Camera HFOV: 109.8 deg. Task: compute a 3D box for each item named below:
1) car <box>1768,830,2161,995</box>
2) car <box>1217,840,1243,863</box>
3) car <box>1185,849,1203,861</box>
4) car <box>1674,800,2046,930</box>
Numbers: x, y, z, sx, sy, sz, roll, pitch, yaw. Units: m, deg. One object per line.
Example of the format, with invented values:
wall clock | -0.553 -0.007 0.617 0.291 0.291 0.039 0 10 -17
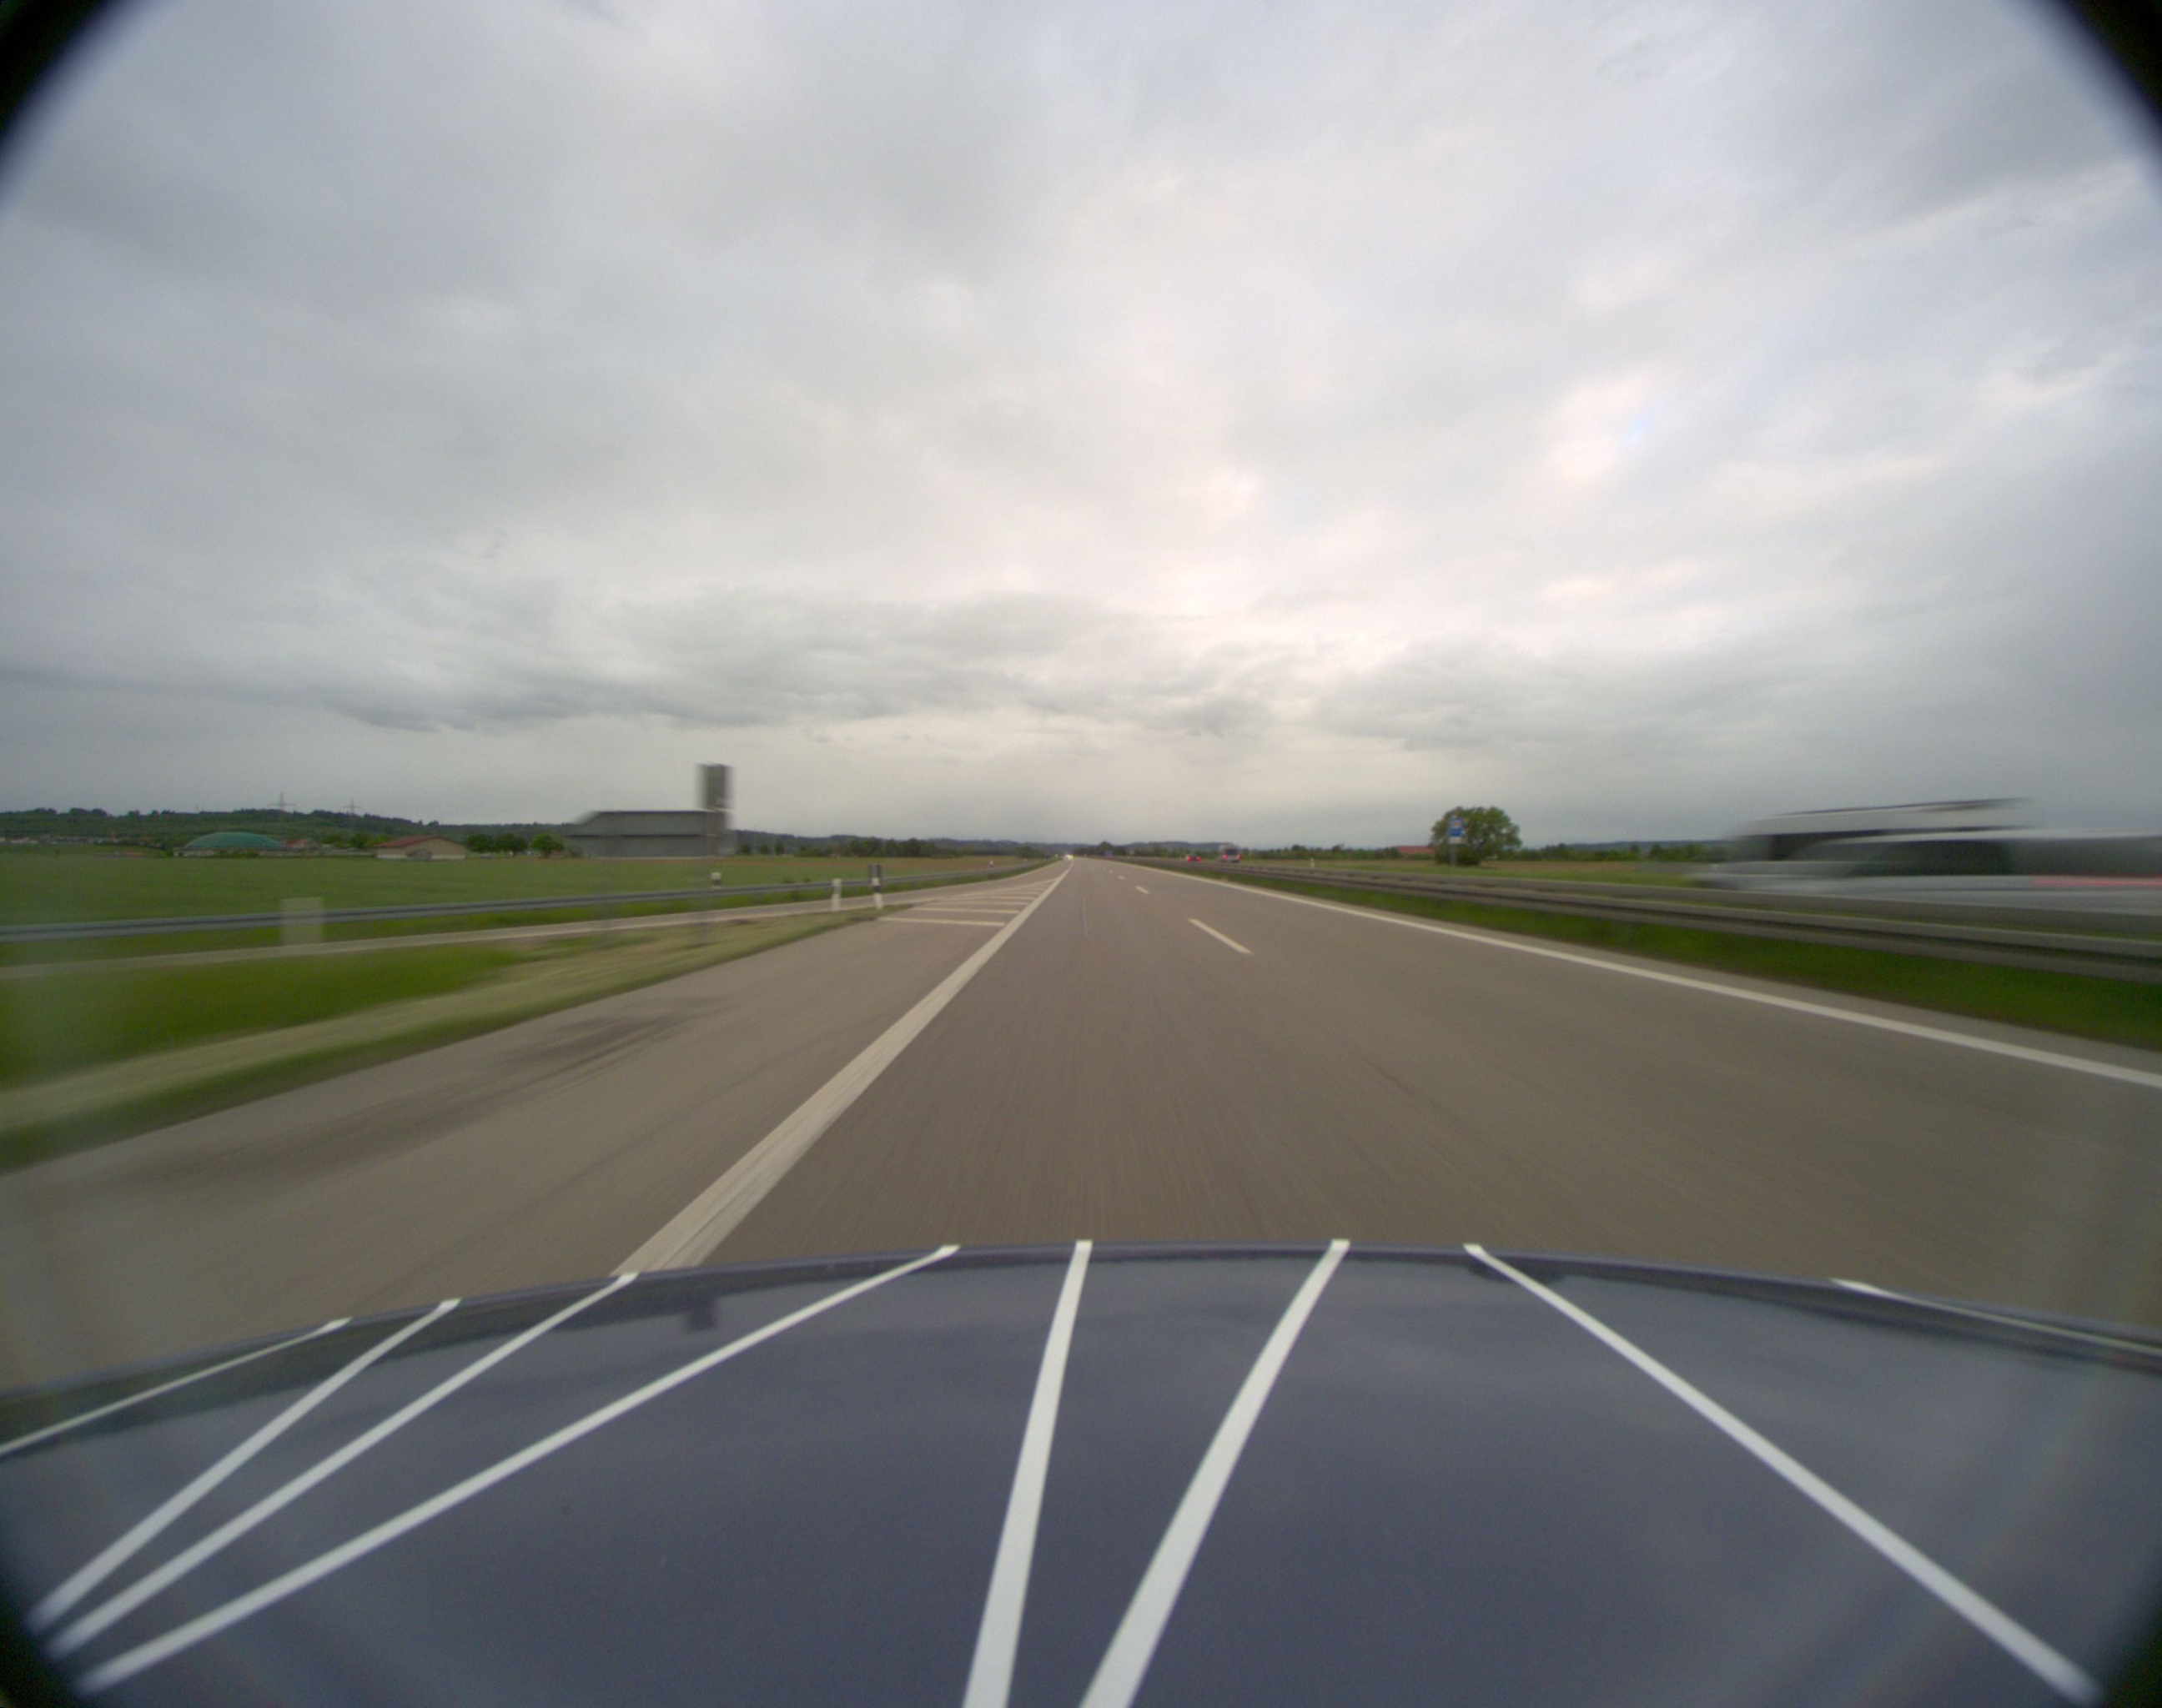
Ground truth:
car | 13.417 0.644 11.229 1.911 1.879 5.071 -2 0 0
car | 19.002 -0.285 97.319 2.111 2.784 6.427 -2 0 1
car | 14.899 0.093 100.094 1.751 1.499 4.200 -2 0 1
car | 17.779 0.204 18.131 2.151 2.468 6.589 -2 0 1
